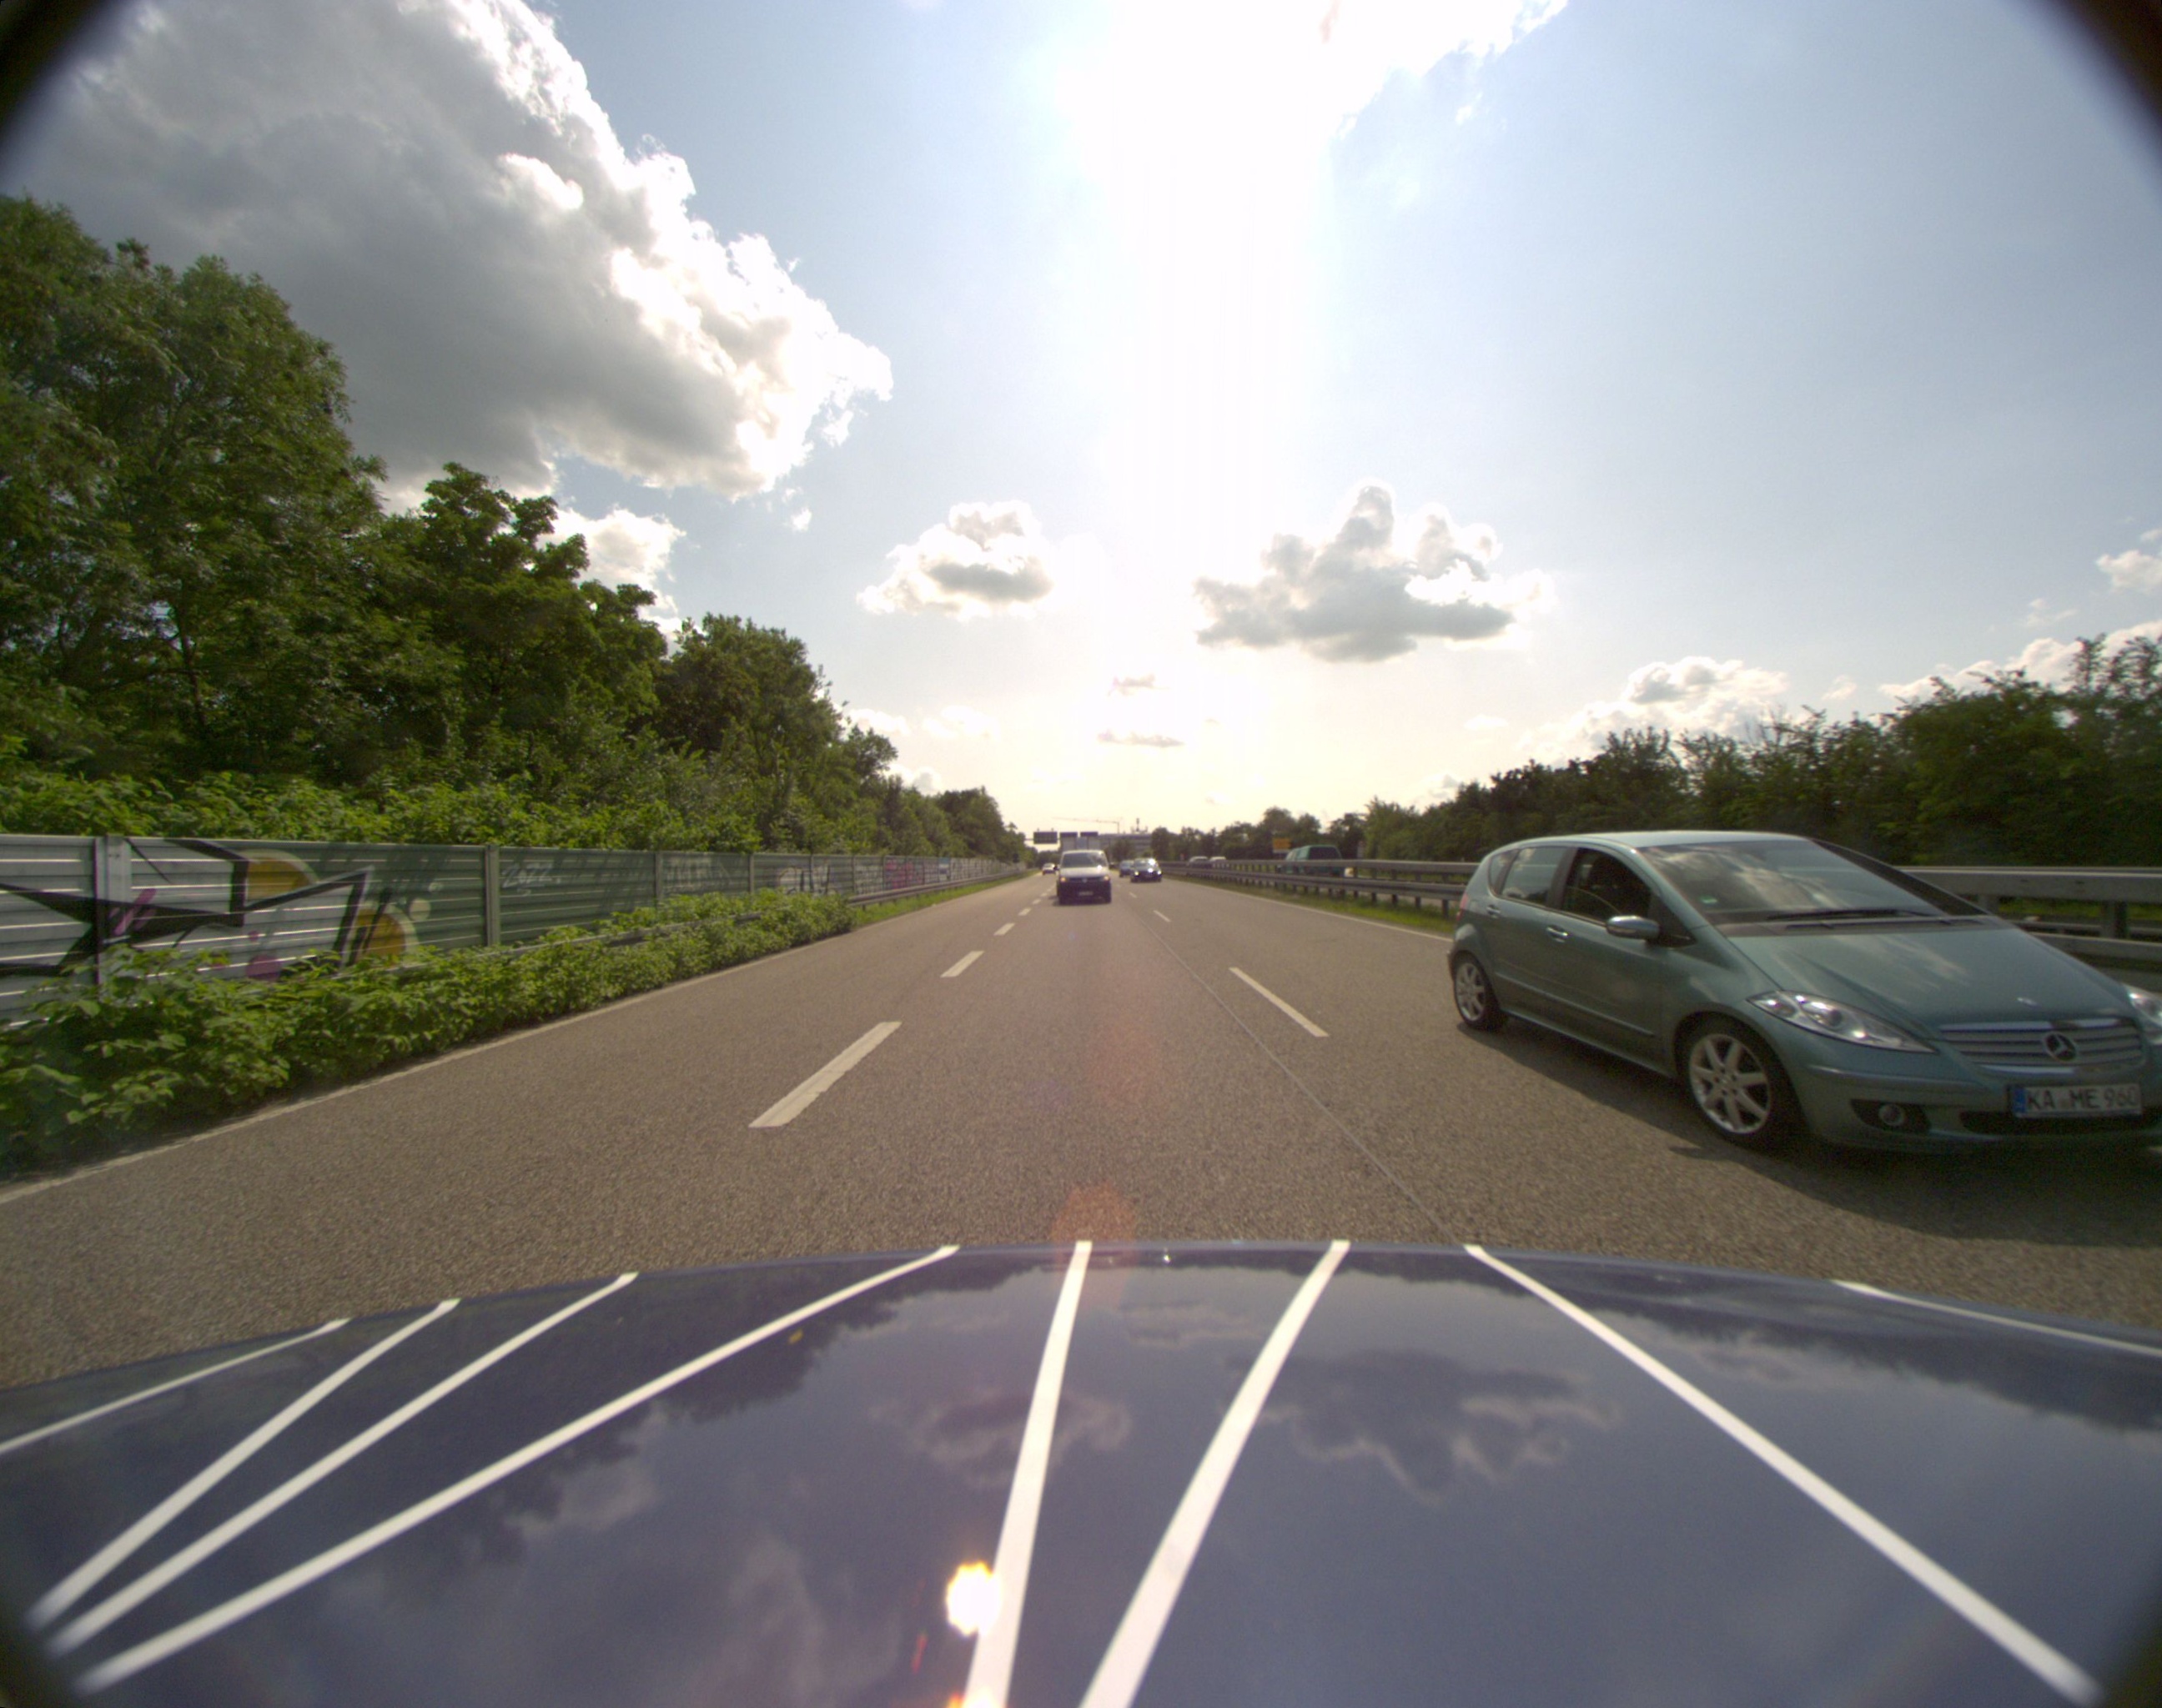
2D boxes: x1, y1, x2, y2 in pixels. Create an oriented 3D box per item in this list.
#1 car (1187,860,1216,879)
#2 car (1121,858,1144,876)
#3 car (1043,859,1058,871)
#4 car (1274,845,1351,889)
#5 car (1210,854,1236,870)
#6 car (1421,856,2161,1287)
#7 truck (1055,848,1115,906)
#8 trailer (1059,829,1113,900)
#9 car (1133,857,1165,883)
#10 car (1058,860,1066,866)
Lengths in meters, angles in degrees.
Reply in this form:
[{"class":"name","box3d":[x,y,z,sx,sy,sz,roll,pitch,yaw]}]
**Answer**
[{"class":"car","box3d":[11.282,1.398,71.116,1.998,1.587,4.132,-3,0,0]},{"class":"car","box3d":[4.457,1.098,66.609,1.625,1.403,3.770,-3,0,-1]},{"class":"car","box3d":[-4.037,1.495,101.966,1.768,1.403,3.771,-3,0,1]},{"class":"car","box3d":[11.056,0.555,36.681,1.998,1.853,5.392,-3,0,0]},{"class":"car","box3d":[15.740,0.849,84.354,1.966,1.636,4.550,-3,0,1]},{"class":"car","box3d":[3.916,0.814,4.799,1.752,1.522,4.000,-2,0,1]},{"class":"truck","box3d":[0.170,0.795,27.894,2.008,1.905,4.000,-2,0,1]},{"class":"trailer","box3d":[0.211,0.391,32.937,1.998,2.723,5.966,-3,1,1]},{"class":"car","box3d":[4.431,1.016,49.984,1.716,1.518,4.592,-3,0,1]},{"class":"car","box3d":[-4.899,2.217,195.012,1.768,1.403,3.771,-3,0,1]}]
